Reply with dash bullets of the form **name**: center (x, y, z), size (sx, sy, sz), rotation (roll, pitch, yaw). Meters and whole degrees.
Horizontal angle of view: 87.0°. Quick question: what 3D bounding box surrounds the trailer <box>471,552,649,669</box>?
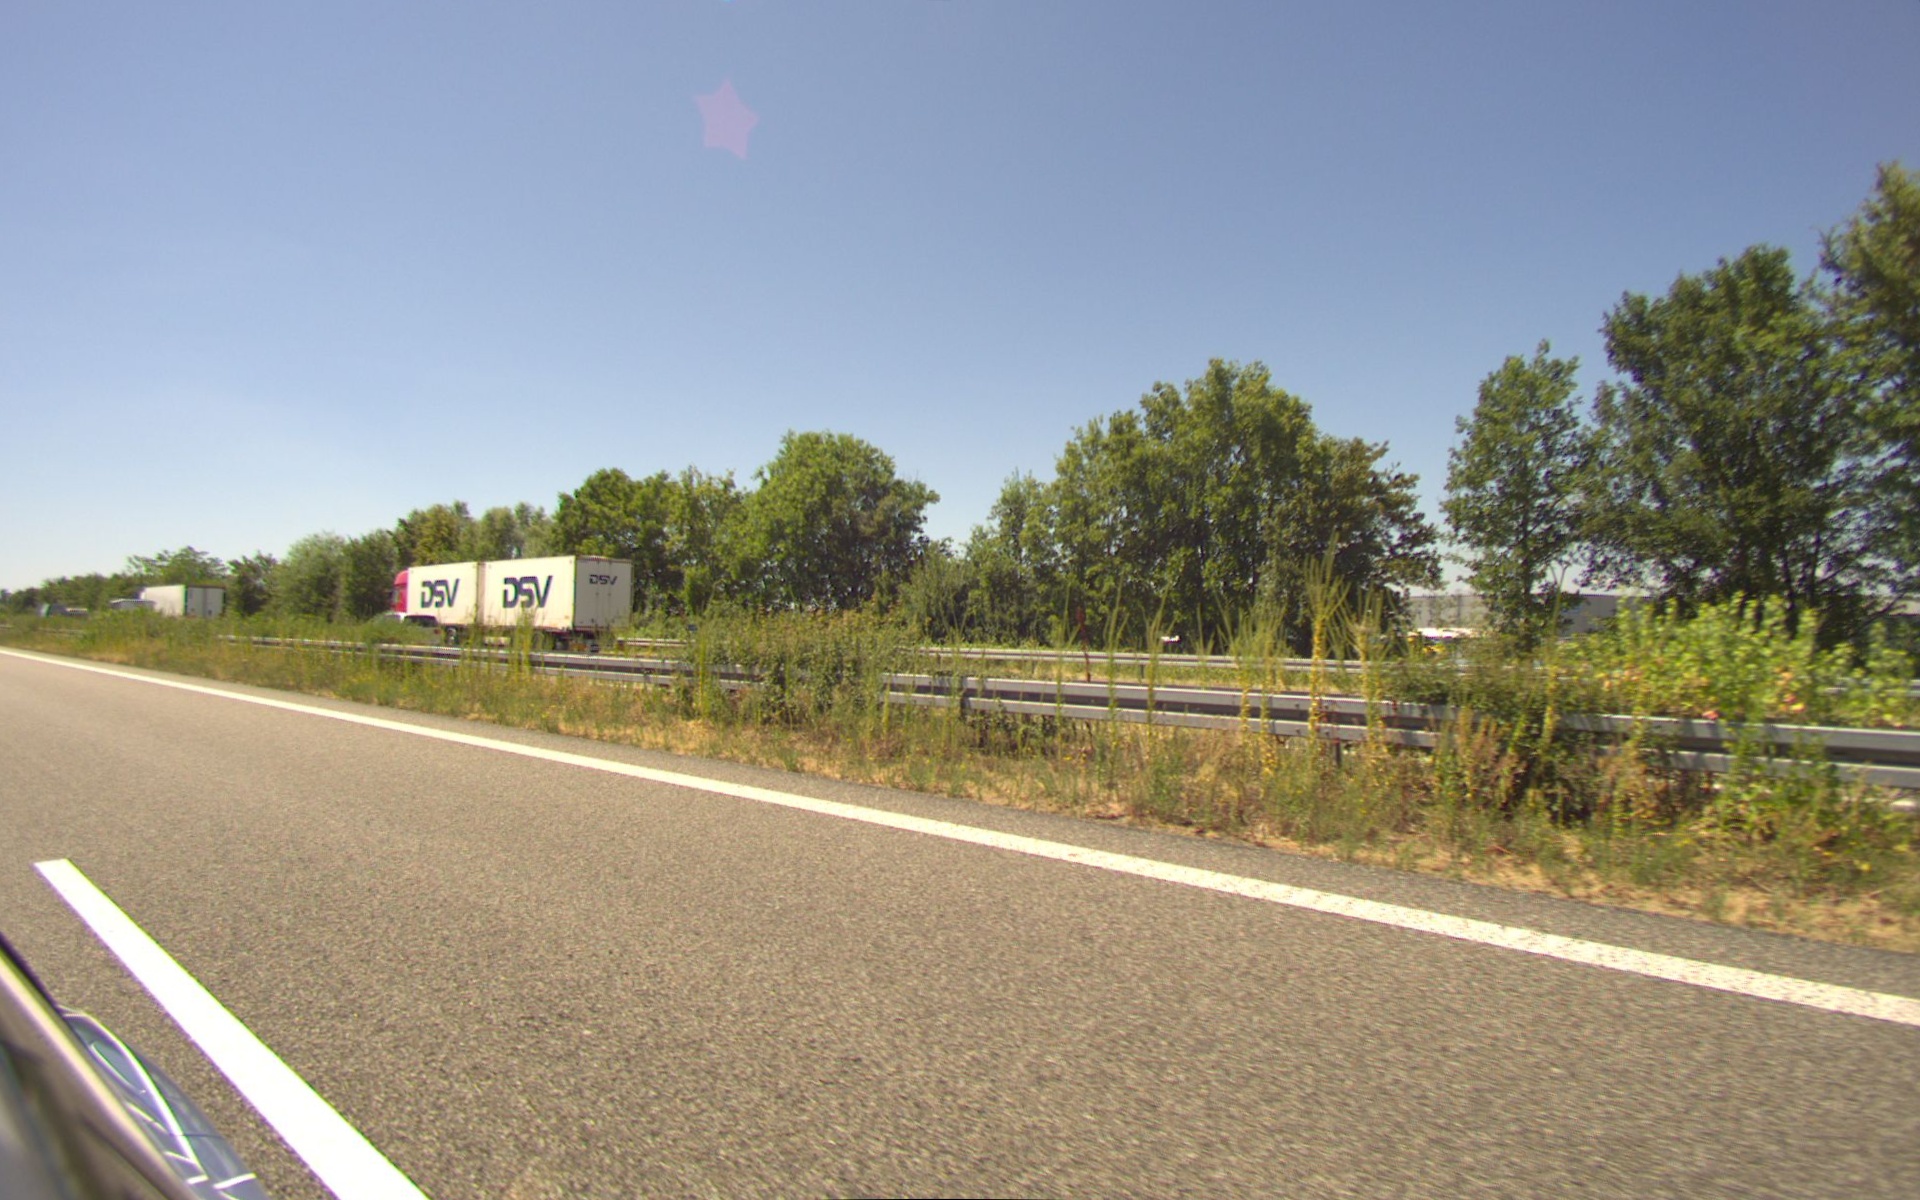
- **trailer**: center (-16.703, 0.536, 41.799), size (9.026, 4.358, 3.016), rotation (-2, -2, 41)

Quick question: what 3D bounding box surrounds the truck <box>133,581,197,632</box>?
- **truck**: center (-68.222, 0.568, 86.821), size (6.521, 4.143, 3.040), rotation (-2, -1, 41)

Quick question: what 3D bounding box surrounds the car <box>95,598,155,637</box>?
- **car**: center (-64.537, 1.385, 78.152), size (6.601, 2.844, 2.305), rotation (-1, -2, 39)

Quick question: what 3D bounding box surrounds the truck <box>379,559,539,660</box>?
- **truck**: center (-24.101, 0.545, 48.306), size (10.622, 4.343, 3.039), rotation (-2, -1, 42)

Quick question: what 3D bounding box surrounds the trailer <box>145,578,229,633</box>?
- **trailer**: center (-62.943, 0.570, 82.237), size (12.227, 4.070, 3.016), rotation (-2, -2, 41)

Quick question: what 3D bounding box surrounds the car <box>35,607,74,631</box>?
- **car**: center (-91.265, 1.913, 102.001), size (5.293, 2.380, 2.187), rotation (-1, -2, 40)

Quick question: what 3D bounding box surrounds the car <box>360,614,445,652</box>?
- **car**: center (-22.736, 1.340, 41.223), size (4.039, 1.453, 1.590), rotation (-2, -1, 39)

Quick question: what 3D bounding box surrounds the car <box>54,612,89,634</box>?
- **car**: center (-99.557, 2.590, 113.321), size (6.011, 2.482, 2.081), rotation (-1, -2, 41)
